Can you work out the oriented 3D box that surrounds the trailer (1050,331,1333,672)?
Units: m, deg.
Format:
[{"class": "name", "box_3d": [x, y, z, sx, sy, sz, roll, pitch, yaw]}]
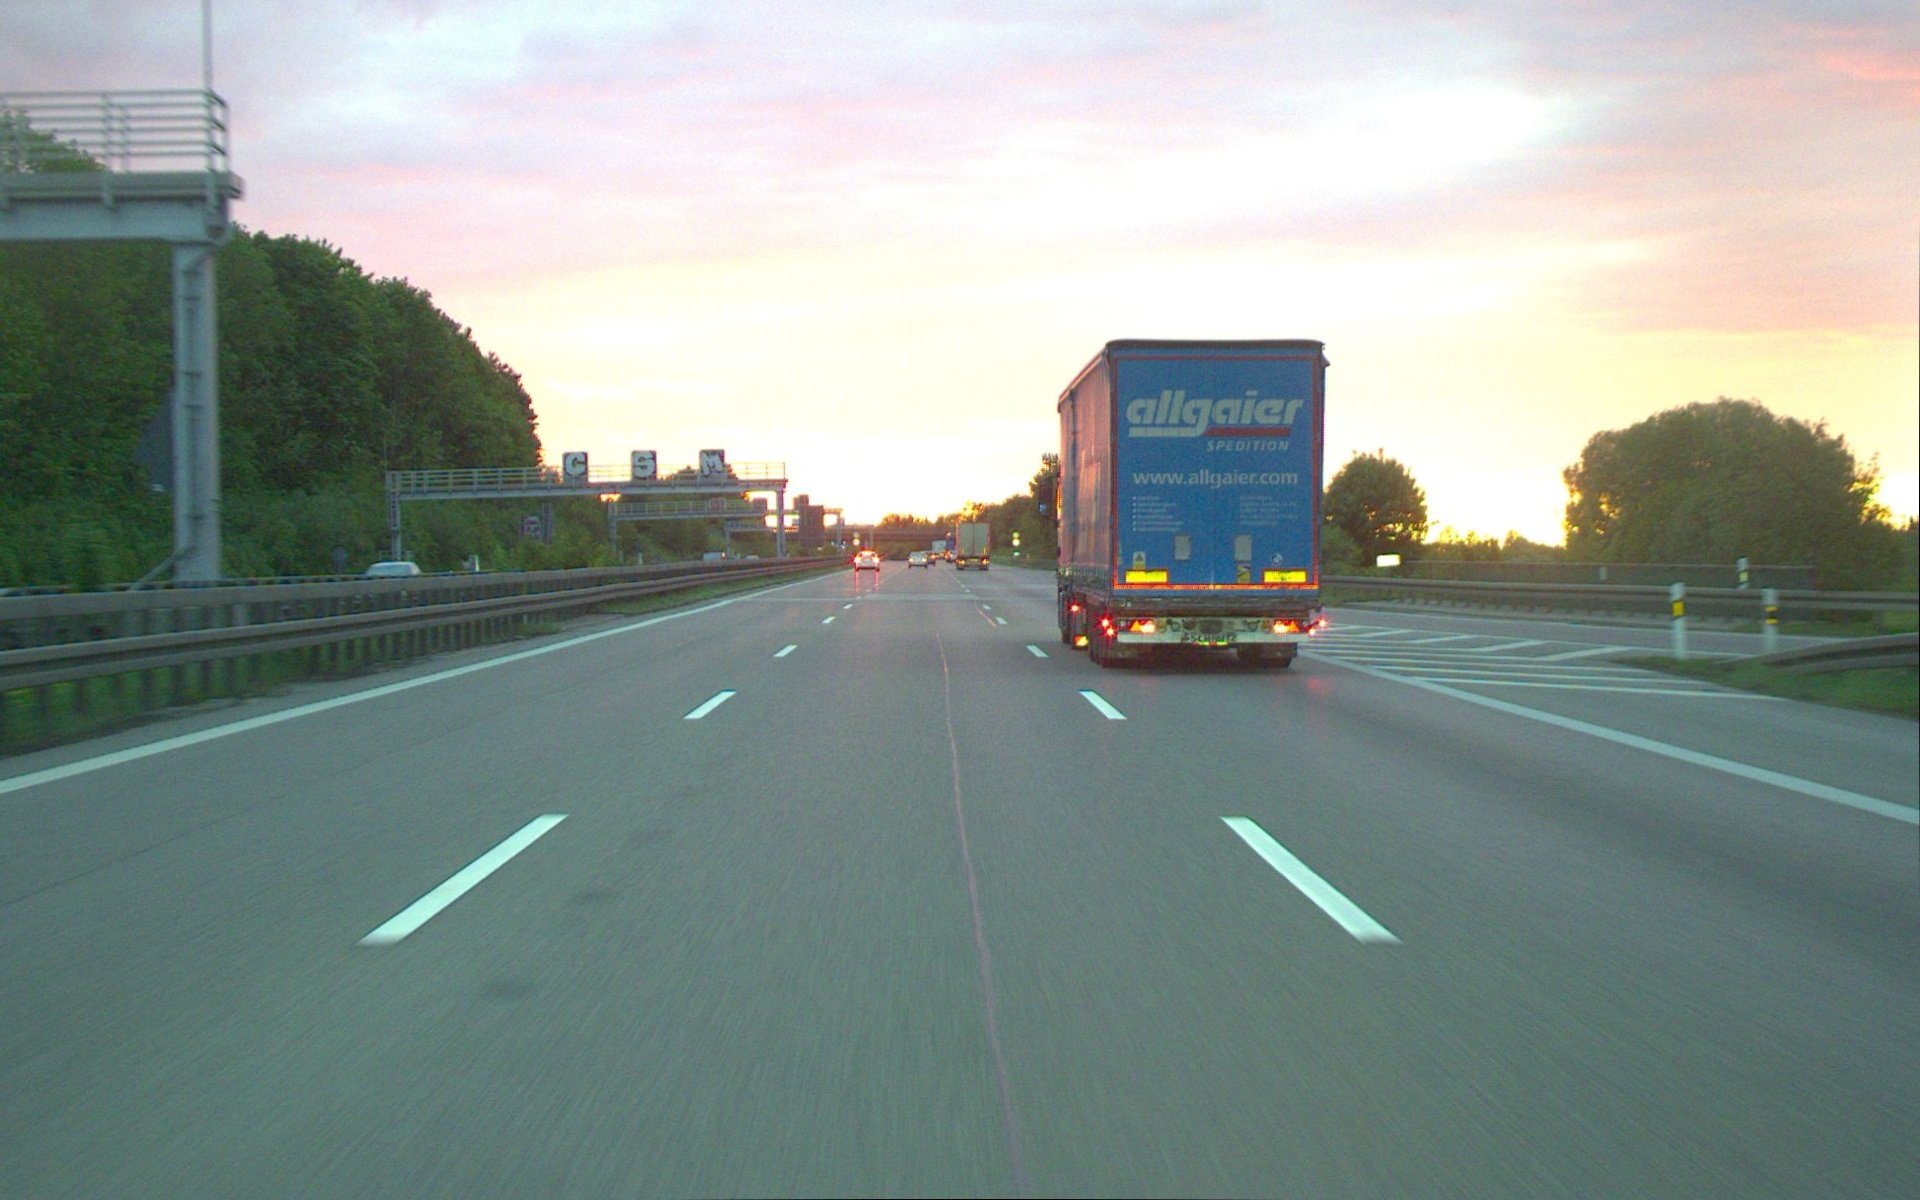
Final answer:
[{"class": "trailer", "box_3d": [2.951, -1.263, 48.060, 2.771, 4.072, 13.740, 0, 1, -1]}]

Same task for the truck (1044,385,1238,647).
[{"class": "truck", "box_3d": [2.829, -1.315, 55.358, 2.736, 3.983, 5.850, 0, 1, -1]}]

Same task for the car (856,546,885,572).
[{"class": "car", "box_3d": [-6.542, -2.997, 252.332, 2.013, 1.743, 3.903, -4, 1, -1]}]
